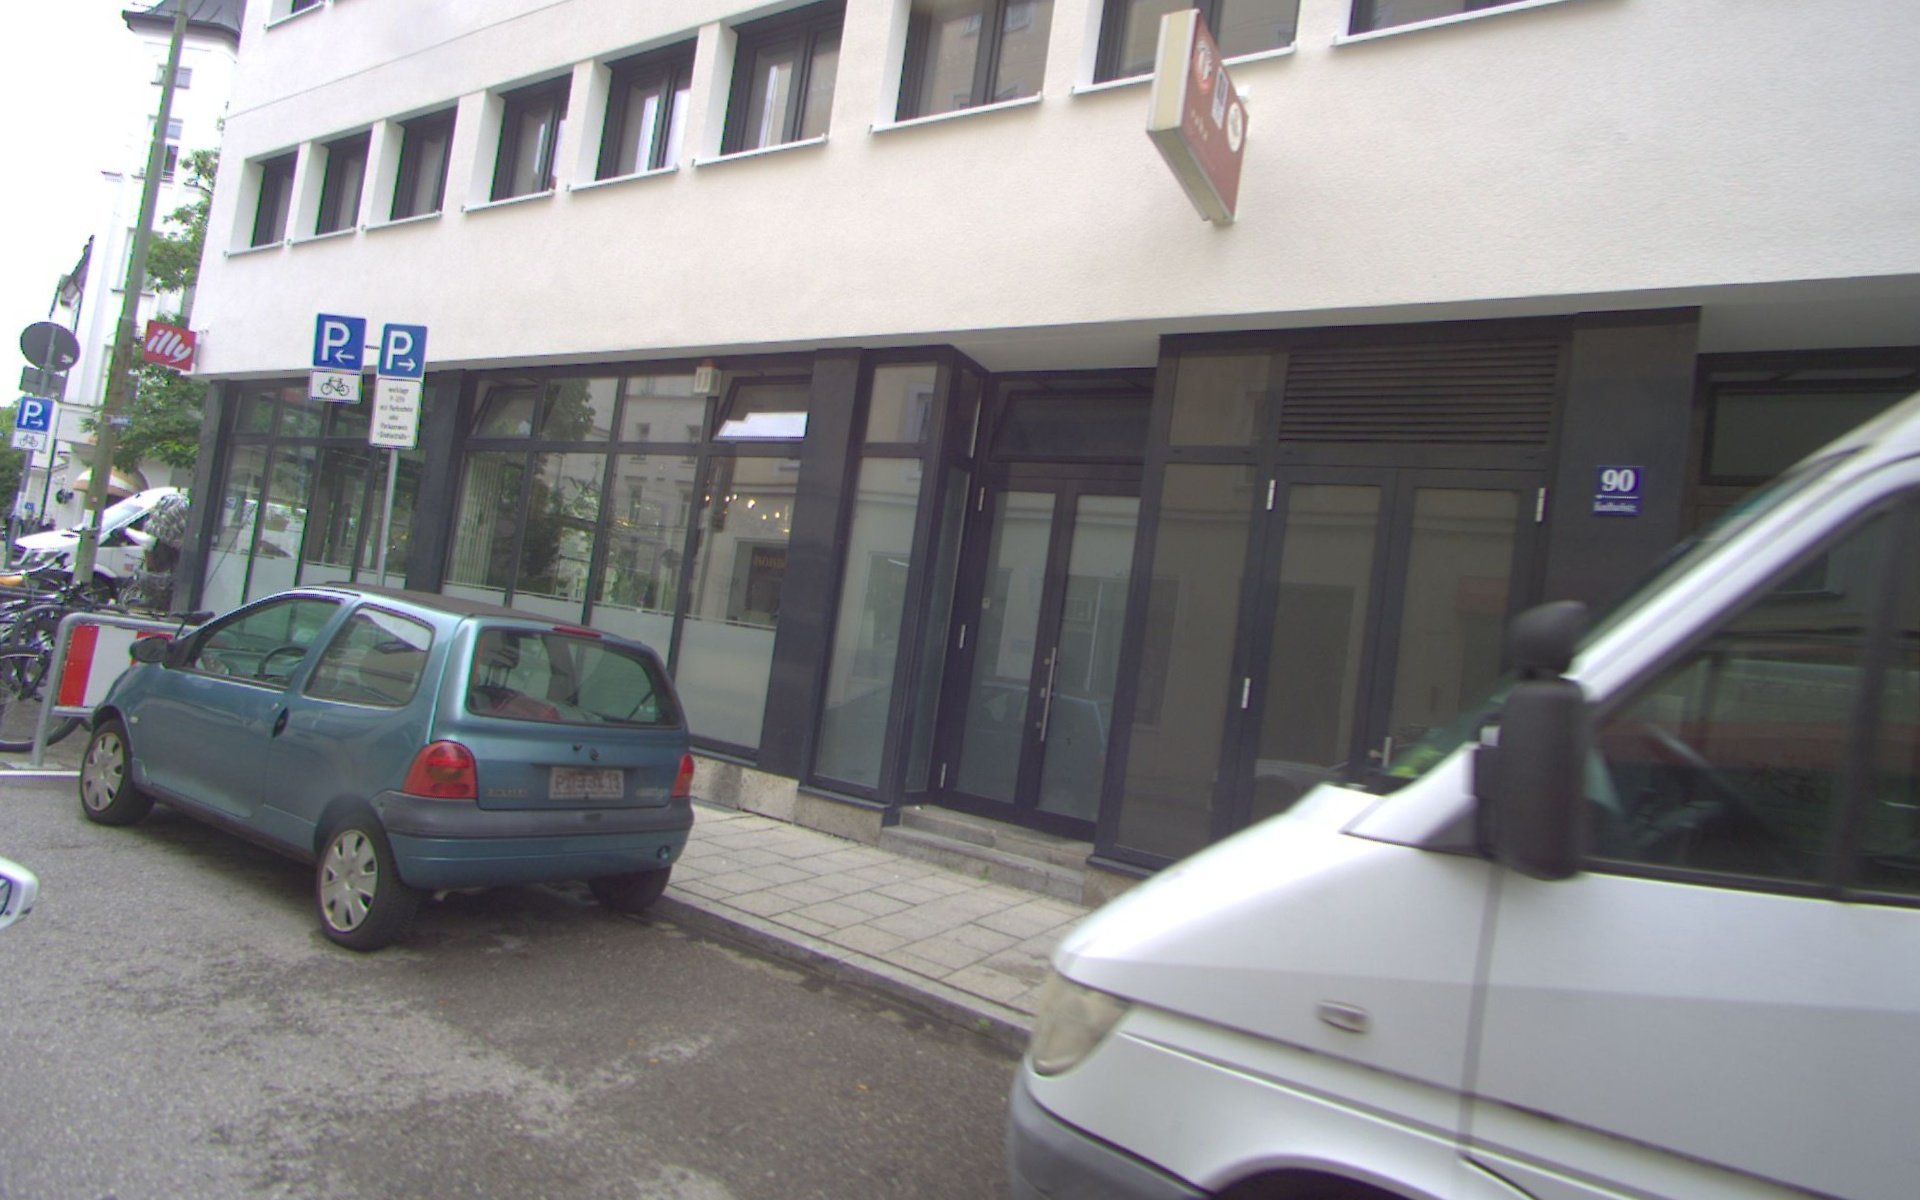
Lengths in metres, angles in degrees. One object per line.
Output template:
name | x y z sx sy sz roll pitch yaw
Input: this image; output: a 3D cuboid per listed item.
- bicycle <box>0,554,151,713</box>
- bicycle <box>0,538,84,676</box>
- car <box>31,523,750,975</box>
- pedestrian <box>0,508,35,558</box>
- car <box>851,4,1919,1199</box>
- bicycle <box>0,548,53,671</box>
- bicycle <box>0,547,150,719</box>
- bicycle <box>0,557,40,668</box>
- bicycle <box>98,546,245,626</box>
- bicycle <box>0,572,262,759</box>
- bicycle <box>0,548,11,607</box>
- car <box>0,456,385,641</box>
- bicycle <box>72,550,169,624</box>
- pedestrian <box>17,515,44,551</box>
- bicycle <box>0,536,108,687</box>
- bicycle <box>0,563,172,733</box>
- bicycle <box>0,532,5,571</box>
bicycle | -7.769 0.213 7.982 0.555 1.168 1.881 8 -4 30
bicycle | -8.912 -0.017 8.645 0.556 1.182 1.899 7 -3 29
car | -3.062 0.586 5.317 3.491 1.480 1.585 7 -3 30
pedestrian | -37.877 -2.683 40.423 0.777 1.871 1.010 10 -3 -44
car | 2.900 0.730 1.345 5.897 2.532 1.927 7 -4 31
bicycle | -9.390 -0.011 8.894 0.432 1.107 1.880 8 -3 28
bicycle | -7.313 0.207 7.437 0.480 1.217 1.880 8 -3 30
bicycle | -9.932 0.007 9.341 0.554 1.063 1.880 5 -4 28
bicycle | -14.300 -0.234 18.299 0.583 1.139 1.904 6 -4 36
bicycle | -5.929 0.450 6.744 0.480 1.090 1.882 8 -5 30
bicycle | -10.523 -0.119 9.674 0.395 1.091 1.880 8 -3 28
car | -15.539 -0.898 20.643 2.028 2.619 5.903 8 -3 37
bicycle | -15.122 -0.226 18.142 0.335 1.139 1.179 6 -4 38
pedestrian | -51.288 -3.679 55.499 0.775 1.871 0.851 10 -3 -37
bicycle | -8.396 0.036 8.309 0.570 1.217 1.879 7 -3 30
bicycle | -6.904 0.306 7.140 0.480 1.119 1.881 8 -4 30
bicycle | -26.335 -1.395 26.830 1.723 1.011 0.540 7 0 22
